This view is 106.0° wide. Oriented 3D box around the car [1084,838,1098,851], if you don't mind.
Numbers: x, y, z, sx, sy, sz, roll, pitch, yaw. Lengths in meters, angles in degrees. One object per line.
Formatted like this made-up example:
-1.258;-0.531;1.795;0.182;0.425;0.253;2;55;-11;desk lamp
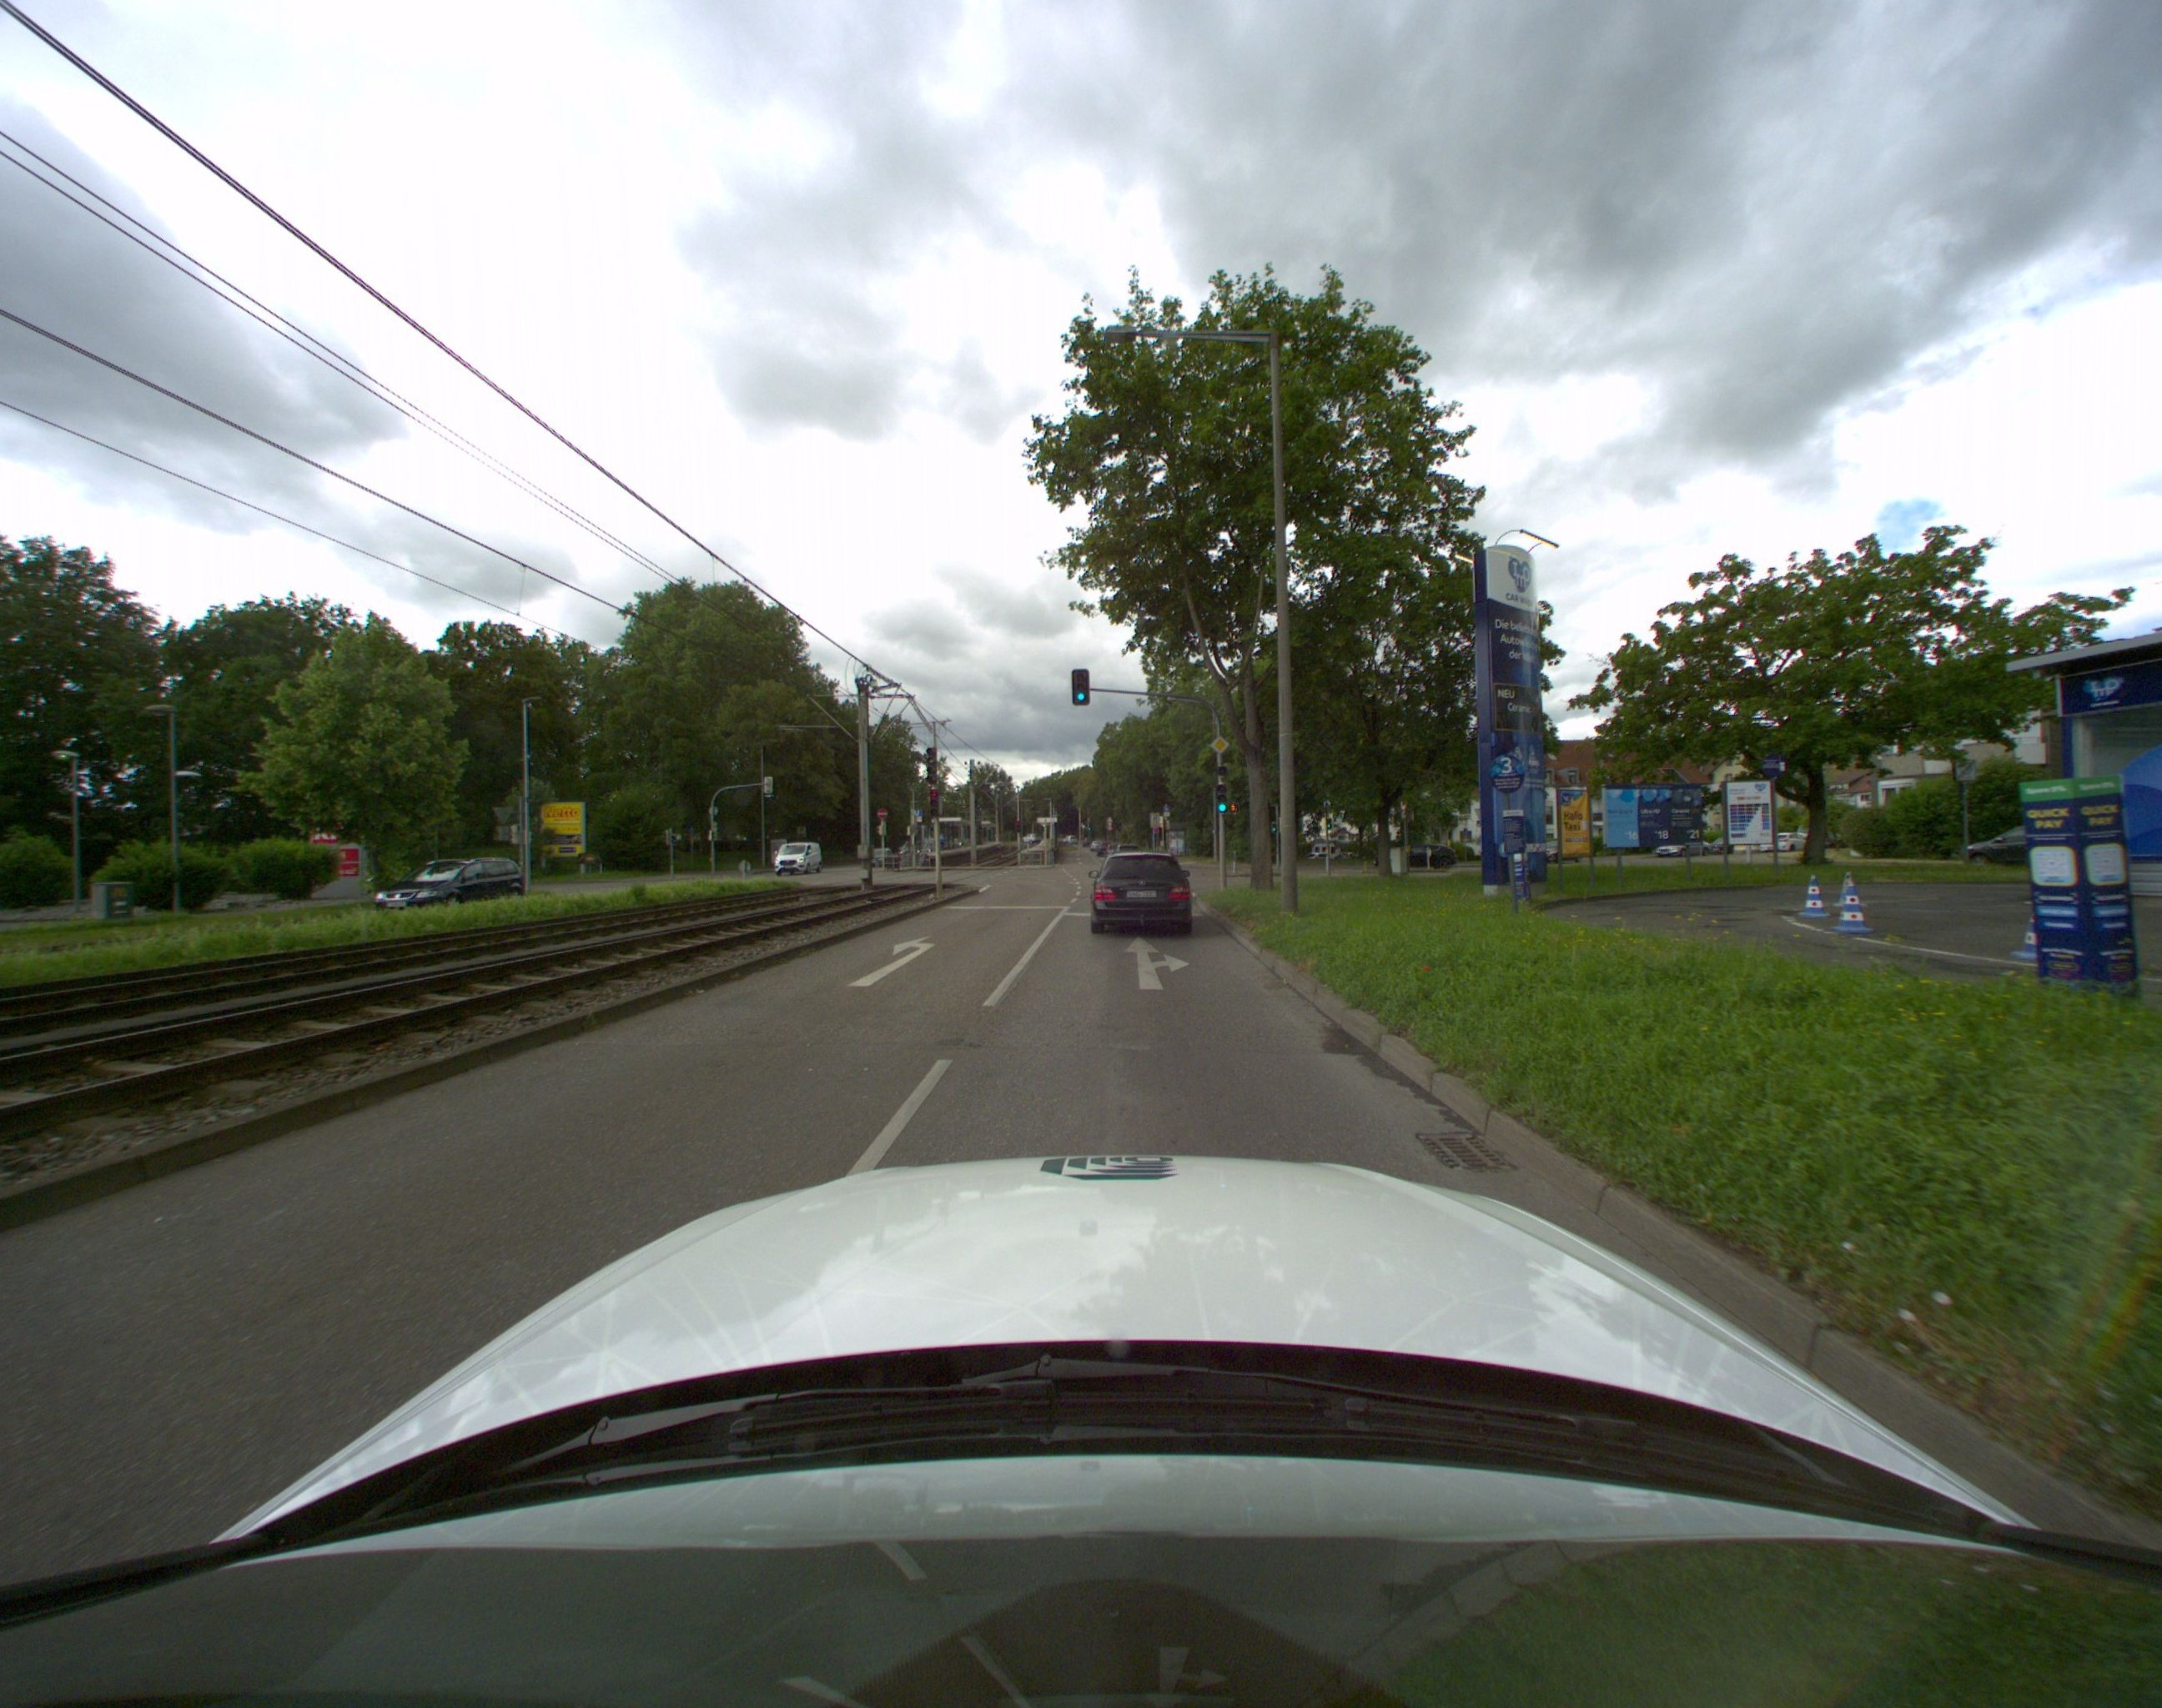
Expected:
1.539;-1.459;125.269;1.988;1.966;3.997;1;0;-2;car

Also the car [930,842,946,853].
-20.974;-0.909;119.698;1.681;1.446;3.997;-3;0;-2;car

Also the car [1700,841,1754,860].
53.683;-0.286;67.645;4.482;1.426;1.981;1;0;-30;car

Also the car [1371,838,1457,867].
18.566;-0.075;45.564;4.130;1.526;1.708;-1;-1;7;car

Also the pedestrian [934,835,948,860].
-12.264;-0.602;71.382;0.966;2.186;0.976;-1;0;0;pedestrian

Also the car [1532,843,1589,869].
33.915;0.124;57.621;4.016;1.765;1.979;1;0;-35;car

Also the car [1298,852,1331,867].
22.567;0.480;78.895;1.479;1.386;3.825;1;0;-11;car

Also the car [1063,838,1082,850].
-1.469;-1.758;142.229;2.000;2.014;3.973;1;0;-20;car

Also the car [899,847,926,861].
-17.983;0.000;87.002;1.988;1.482;4.503;-2;0;-2;car

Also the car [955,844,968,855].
-21.041;-0.806;143.110;1.705;1.751;4.397;-2;0;-1;car

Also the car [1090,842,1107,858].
2.206;-0.490;104.950;1.988;1.893;3.997;1;0;-2;car

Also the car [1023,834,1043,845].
-9.124;-2.690;154.039;2.007;2.014;3.959;1;0;-33;car

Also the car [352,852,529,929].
-18.494;0.982;23.822;1.989;2.013;4.103;-2;0;-2;car

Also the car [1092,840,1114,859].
2.262;-0.429;83.365;1.988;1.918;3.997;1;0;-2;car

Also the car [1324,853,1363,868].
23.252;0.572;72.244;1.622;1.246;3.842;1;0;-12;car

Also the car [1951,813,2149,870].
34.200;-0.419;28.958;1.713;1.842;4.404;1;0;-2;car

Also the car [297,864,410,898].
-36.857;1.350;41.318;3.975;1.552;1.846;-2;0;-1;car

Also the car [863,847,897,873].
-15.403;0.437;62.576;1.692;1.860;3.997;1;0;-2;car

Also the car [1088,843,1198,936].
1.037;0.586;15.407;1.776;1.525;3.999;0;0;0;car

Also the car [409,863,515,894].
-31.047;1.208;40.929;3.867;1.408;1.846;-2;0;-1;car

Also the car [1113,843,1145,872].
2.889;0.219;48.550;1.773;1.648;4.005;1;0;4;car

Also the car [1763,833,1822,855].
50.612;-0.710;57.942;4.012;1.517;1.981;-1;1;-30;car

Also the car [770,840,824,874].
-17.998;0.200;51.916;1.990;2.013;4.878;-2;0;-4;car

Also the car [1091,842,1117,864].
1.833;-0.074;63.276;1.773;1.648;4.005;1;0;4;car
